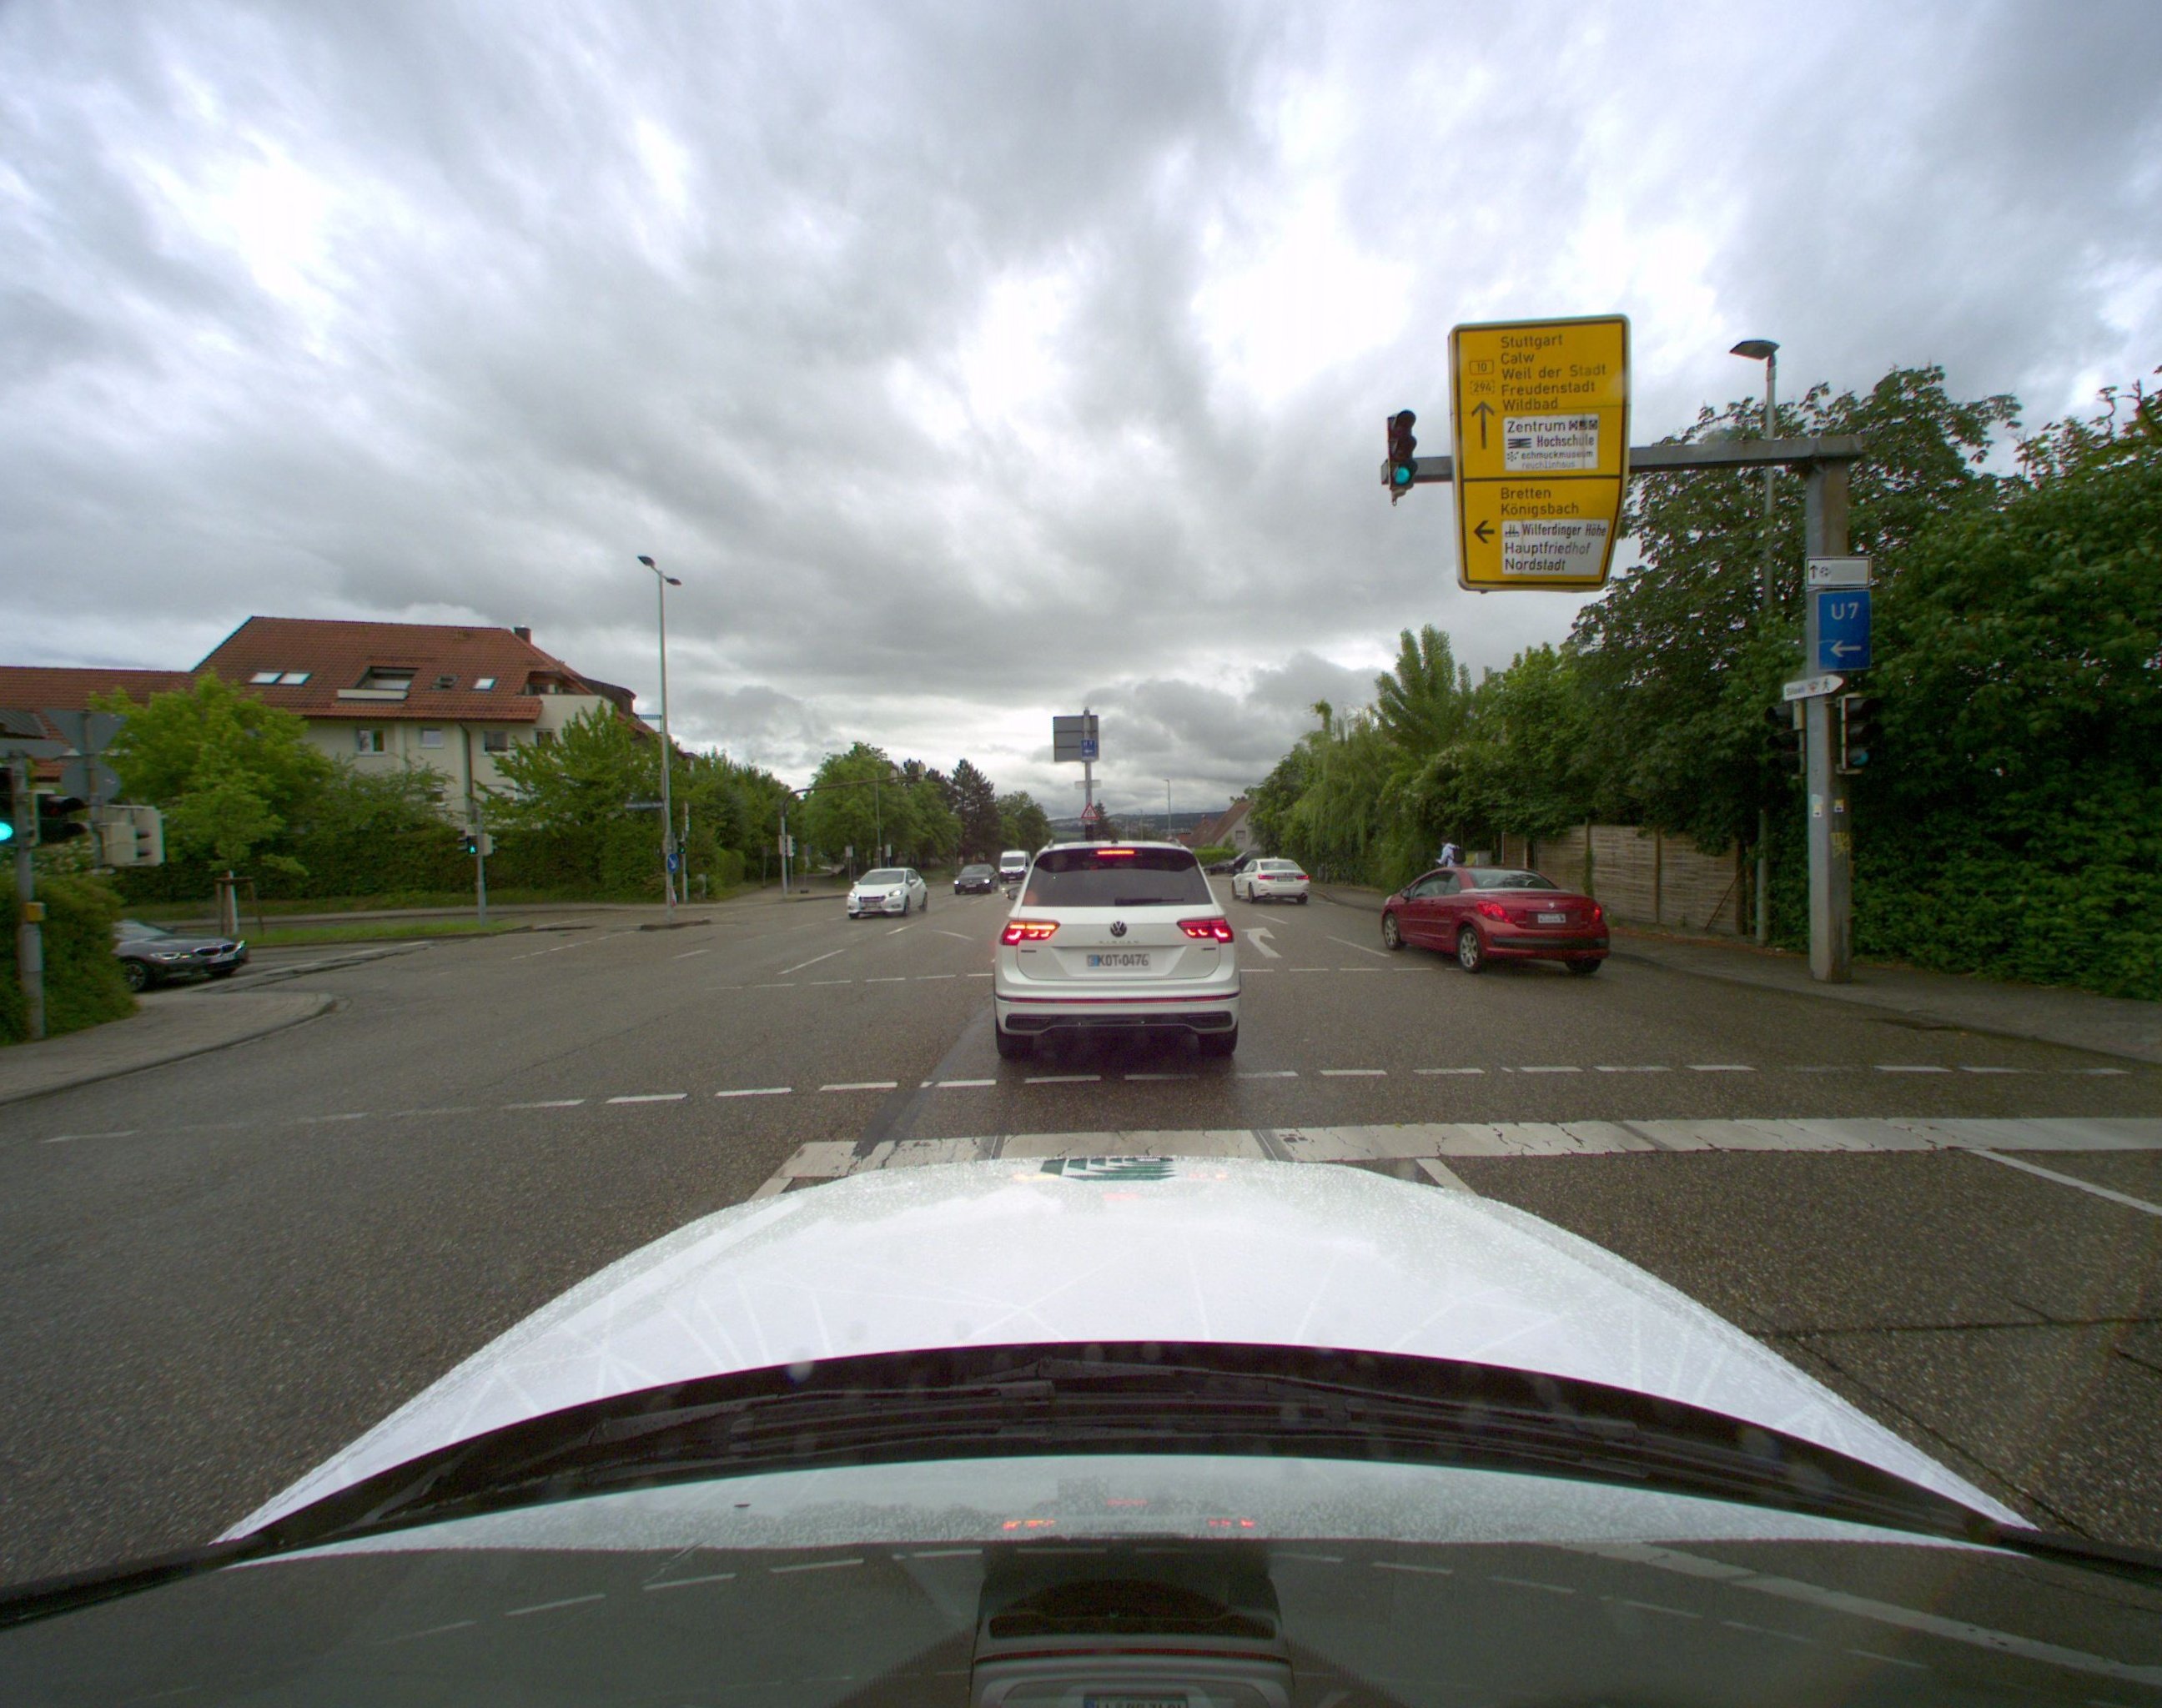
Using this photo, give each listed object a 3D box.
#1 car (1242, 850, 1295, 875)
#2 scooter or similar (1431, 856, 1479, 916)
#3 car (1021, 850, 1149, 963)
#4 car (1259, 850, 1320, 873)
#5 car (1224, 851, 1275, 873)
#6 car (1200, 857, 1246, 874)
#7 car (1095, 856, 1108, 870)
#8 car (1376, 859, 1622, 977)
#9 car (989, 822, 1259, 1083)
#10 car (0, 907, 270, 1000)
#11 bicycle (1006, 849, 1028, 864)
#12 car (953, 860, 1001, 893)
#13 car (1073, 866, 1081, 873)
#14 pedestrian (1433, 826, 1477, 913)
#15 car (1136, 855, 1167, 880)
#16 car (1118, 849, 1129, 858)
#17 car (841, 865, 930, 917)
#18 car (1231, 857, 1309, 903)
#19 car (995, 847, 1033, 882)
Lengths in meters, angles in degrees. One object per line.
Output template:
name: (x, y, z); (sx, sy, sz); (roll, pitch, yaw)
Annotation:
car: (14.229, 0.627, 61.802); (3.618, 1.746, 1.707); (-1, 2, -2)
scooter or similar: (8.828, 0.731, 19.270); (0.460, 1.361, 1.384); (-1, 0, -2)
car: (0.135, 0.747, 13.535); (1.791, 1.589, 3.928); (-1, 0, 2)
car: (14.395, 0.538, 56.284); (3.709, 1.395, 1.725); (-2, -2, -6)
car: (13.242, 0.621, 64.142); (3.618, 1.626, 1.789); (-1, -1, -3)
car: (12.033, 1.022, 69.125); (3.675, 1.370, 1.518); (-1, -2, 0)
car: (2.702, 1.210, 107.165); (1.706, 1.758, 3.802); (-2, 0, 1)
car: (5.762, 0.793, 11.768); (1.621, 1.403, 3.687); (0, 0, -1)
car: (0.326, 0.650, 7.498); (1.756, 1.696, 4.273); (1, 0, 1)
car: (-19.914, 2.030, 16.717); (4.413, 1.392, 1.774); (-4, 2, -5)
bicycle: (-5.247, 0.166, 66.754); (1.631, 1.126, 0.468); (-3, 0, 0)
car: (-5.337, 1.142, 42.135); (1.770, 1.502, 4.472); (-3, 0, 1)
car: (-1.046, 4.035, 207.735); (1.986, 1.728, 4.001); (0, -1, 2)
pedestrian: (8.834, 0.358, 19.280); (0.654, 2.002, 0.717); (-1, -1, -2)
car: (4.683, 0.889, 54.808); (1.730, 1.575, 4.067); (0, 0, 0)
car: (7.654, -0.079, 145.763); (1.843, 1.574, 4.002); (-2, 0, 2)
car: (-5.969, 1.084, 25.296); (1.740, 1.397, 3.803); (-2, 0, 1)
car: (6.257, 0.811, 27.403); (1.659, 1.427, 4.305); (0, 0, 0)
car: (-5.164, 0.744, 63.554); (2.289, 2.528, 5.774); (-2, 0, 0)
